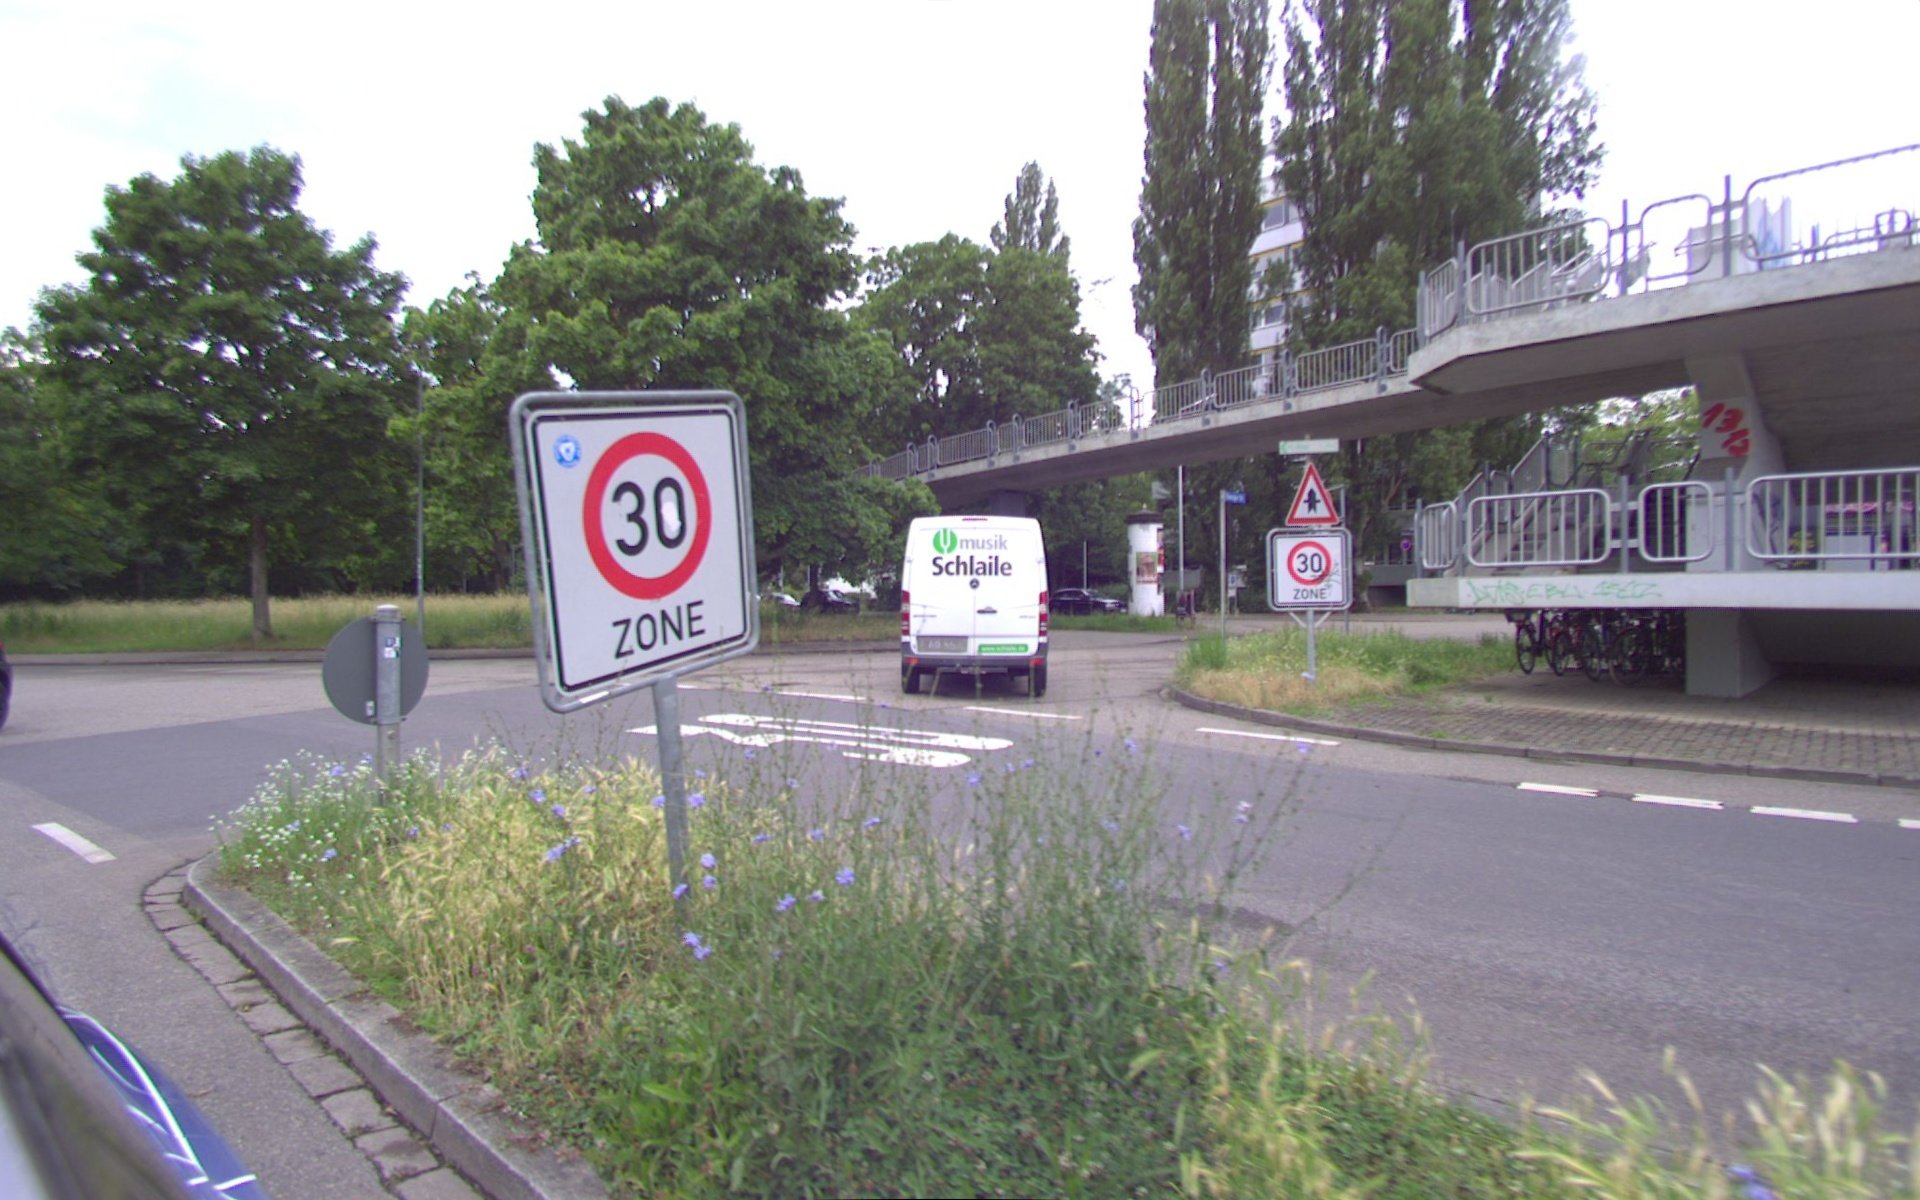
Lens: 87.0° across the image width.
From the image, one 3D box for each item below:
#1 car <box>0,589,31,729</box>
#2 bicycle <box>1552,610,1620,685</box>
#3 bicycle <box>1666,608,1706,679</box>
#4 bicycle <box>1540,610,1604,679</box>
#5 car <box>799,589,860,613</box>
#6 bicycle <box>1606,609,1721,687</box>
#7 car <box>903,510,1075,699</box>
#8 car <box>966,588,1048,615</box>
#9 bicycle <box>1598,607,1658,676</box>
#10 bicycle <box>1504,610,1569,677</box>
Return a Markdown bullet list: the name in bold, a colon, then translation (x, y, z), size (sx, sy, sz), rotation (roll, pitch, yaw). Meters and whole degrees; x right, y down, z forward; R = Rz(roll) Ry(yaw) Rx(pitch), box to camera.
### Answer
- **car**: translation (-10.497, 0.651, 8.624), size (1.773, 1.468, 4.553), rotation (-1, 1, -13)
- **bicycle**: translation (8.226, 0.599, 13.282), size (1.618, 0.892, 0.395), rotation (-1, 1, -45)
- **bicycle**: translation (10.064, 0.577, 14.009), size (0.394, 0.892, 1.621), rotation (0, 1, 37)
- **bicycle**: translation (8.764, 0.615, 14.466), size (1.618, 0.892, 0.395), rotation (-1, 1, -45)
- **car**: translation (-7.732, 0.056, 59.752), size (1.668, 1.361, 4.007), rotation (-1, 1, -40)
- **bicycle**: translation (8.834, 0.583, 12.688), size (1.712, 0.892, 0.396), rotation (-1, 1, -26)
- **car**: translation (0.268, 0.024, 15.193), size (2.110, 2.309, 5.210), rotation (-1, 1, -2)
- **car**: translation (2.218, 0.059, 48.580), size (1.668, 1.256, 4.007), rotation (-1, 1, -40)
- **bicycle**: translation (9.552, 0.570, 14.455), size (1.618, 0.892, 0.395), rotation (-1, 1, -45)
- **bicycle**: translation (8.413, 0.606, 14.746), size (1.618, 0.892, 0.395), rotation (-1, 1, -45)
